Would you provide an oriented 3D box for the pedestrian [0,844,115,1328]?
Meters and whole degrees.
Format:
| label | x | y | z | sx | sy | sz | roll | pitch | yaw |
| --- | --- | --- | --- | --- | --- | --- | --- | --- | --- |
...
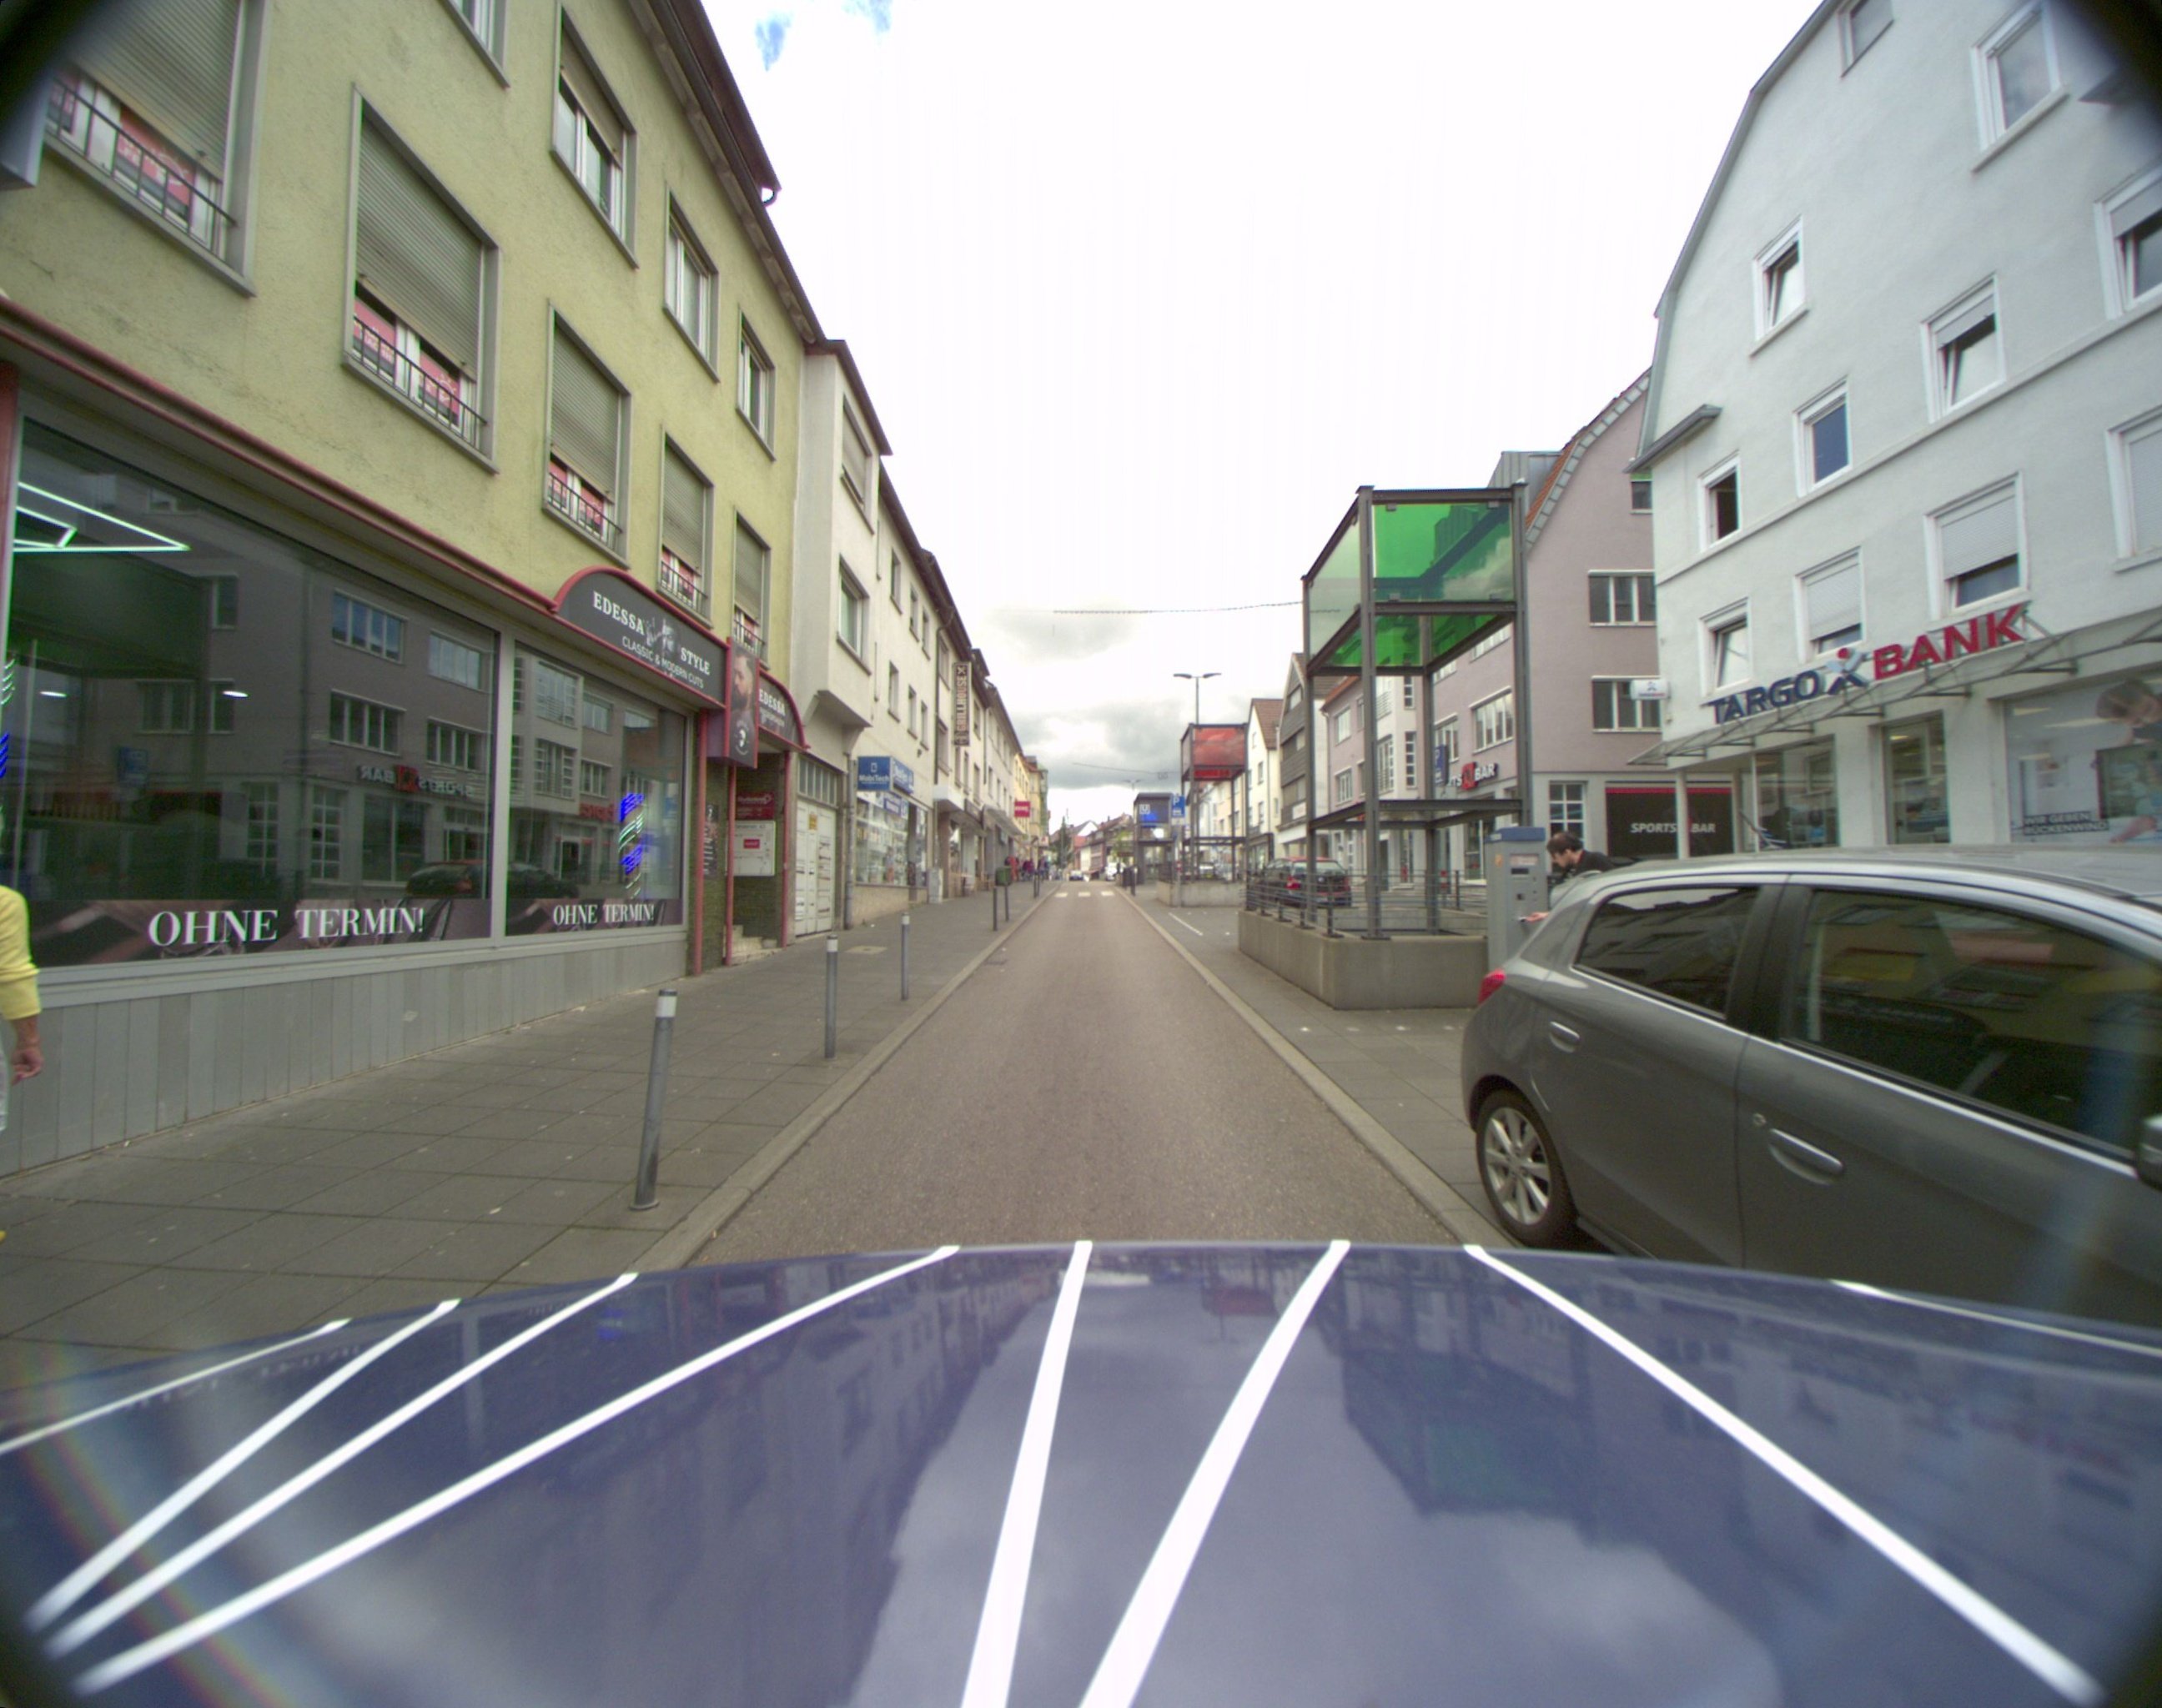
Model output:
| label | x | y | z | sx | sy | sz | roll | pitch | yaw |
| --- | --- | --- | --- | --- | --- | --- | --- | --- | --- |
| pedestrian | -3.980 | 0.777 | 2.416 | 0.713 | 1.621 | 0.835 | 2 | 0 | 0 |

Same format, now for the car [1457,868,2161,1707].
| label | x | y | z | sx | sy | sz | roll | pitch | yaw |
| --- | --- | --- | --- | --- | --- | --- | --- | --- | --- |
| car | 2.365 | 0.853 | 1.280 | 1.624 | 1.523 | 3.670 | -2 | 0 | 0 |

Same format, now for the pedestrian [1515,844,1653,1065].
| label | x | y | z | sx | sy | sz | roll | pitch | yaw |
| --- | --- | --- | --- | --- | --- | --- | --- | --- | --- |
| pedestrian | 4.045 | 0.763 | 6.179 | 0.535 | 1.662 | 0.901 | -1 | 0 | 3 |

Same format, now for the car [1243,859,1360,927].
| label | x | y | z | sx | sy | sz | roll | pitch | yaw |
| --- | --- | --- | --- | --- | --- | --- | --- | --- | --- |
| car | 5.268 | 0.872 | 18.655 | 1.573 | 1.466 | 3.854 | 0 | 0 | -3 |

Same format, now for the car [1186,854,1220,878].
| label | x | y | z | sx | sy | sz | roll | pitch | yaw |
| --- | --- | --- | --- | --- | --- | --- | --- | --- | --- |
| car | 8.437 | 0.803 | 52.855 | 1.684 | 1.562 | 4.122 | -2 | 0 | 0 |

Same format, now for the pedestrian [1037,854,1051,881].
| label | x | y | z | sx | sy | sz | roll | pitch | yaw |
| --- | --- | --- | --- | --- | --- | --- | --- | --- | --- |
| pedestrian | -2.337 | 0.829 | 47.693 | 0.740 | 1.660 | 0.786 | 2 | 0 | -9 |

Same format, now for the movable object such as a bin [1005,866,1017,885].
| label | x | y | z | sx | sy | sz | roll | pitch | yaw |
| --- | --- | --- | --- | --- | --- | --- | --- | --- | --- |
| movable object such as a bin | -3.916 | 1.196 | 42.543 | 0.652 | 1.074 | 0.673 | 0 | 0 | 0 |

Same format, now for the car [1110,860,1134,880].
| label | x | y | z | sx | sy | sz | roll | pitch | yaw |
| --- | --- | --- | --- | --- | --- | --- | --- | --- | --- |
| car | 3.283 | 1.277 | 61.243 | 1.754 | 1.452 | 3.601 | -2 | 0 | 1 |

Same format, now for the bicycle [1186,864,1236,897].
| label | x | y | z | sx | sy | sz | roll | pitch | yaw |
| --- | --- | --- | --- | --- | --- | --- | --- | --- | --- |
| bicycle | 4.787 | 0.977 | 28.013 | 1.782 | 1.216 | 0.459 | 0 | 1 | 0 |

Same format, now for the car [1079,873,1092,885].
| label | x | y | z | sx | sy | sz | roll | pitch | yaw |
| --- | --- | --- | --- | --- | --- | --- | --- | --- | --- |
| car | 0.715 | 3.989 | 122.035 | 1.741 | 1.608 | 3.999 | -2 | 0 | -2 |

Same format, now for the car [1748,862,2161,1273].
| label | x | y | z | sx | sy | sz | roll | pitch | yaw |
| --- | --- | --- | --- | --- | --- | --- | --- | --- | --- |
| car | 4.973 | 0.827 | 2.544 | 1.743 | 1.534 | 4.192 | 0 | 0 | -1 |

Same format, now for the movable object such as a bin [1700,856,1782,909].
| label | x | y | z | sx | sy | sz | roll | pitch | yaw |
| --- | --- | --- | --- | --- | --- | --- | --- | --- | --- |
| movable object such as a bin | 17.712 | 0.751 | 20.413 | 1.286 | 1.368 | 1.044 | -1 | 0 | 0 |

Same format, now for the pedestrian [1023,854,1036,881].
| label | x | y | z | sx | sy | sz | roll | pitch | yaw |
| --- | --- | --- | --- | --- | --- | --- | --- | --- | --- |
| pedestrian | -3.377 | 0.883 | 49.817 | 0.759 | 1.715 | 0.756 | 3 | 0 | -5 |

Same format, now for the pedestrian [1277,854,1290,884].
| label | x | y | z | sx | sy | sz | roll | pitch | yaw |
| --- | --- | --- | --- | --- | --- | --- | --- | --- | --- |
| pedestrian | 11.625 | 0.850 | 43.666 | 0.592 | 1.706 | 0.513 | -2 | 1 | 0 |

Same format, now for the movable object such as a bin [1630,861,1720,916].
| label | x | y | z | sx | sy | sz | roll | pitch | yaw |
| --- | --- | --- | --- | --- | --- | --- | --- | --- | --- |
| movable object such as a bin | 15.721 | 0.897 | 20.161 | 1.286 | 1.368 | 1.407 | -1 | 0 | 0 |

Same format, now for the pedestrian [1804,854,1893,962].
| label | x | y | z | sx | sy | sz | roll | pitch | yaw |
| --- | --- | --- | --- | --- | --- | --- | --- | --- | --- |
| pedestrian | 11.559 | 0.787 | 11.461 | 0.566 | 1.564 | 0.716 | 1 | 1 | 0 |

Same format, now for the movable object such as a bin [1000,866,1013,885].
| label | x | y | z | sx | sy | sz | roll | pitch | yaw |
| --- | --- | --- | --- | --- | --- | --- | --- | --- | --- |
| movable object such as a bin | -4.107 | 1.177 | 41.820 | 0.670 | 1.024 | 0.560 | 0 | 0 | 0 |

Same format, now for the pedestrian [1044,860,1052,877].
| label | x | y | z | sx | sy | sz | roll | pitch | yaw |
| --- | --- | --- | --- | --- | --- | --- | --- | --- | --- |
| pedestrian | -3.186 | 1.459 | 74.372 | 0.657 | 1.620 | 0.743 | -3 | 1 | -6 |

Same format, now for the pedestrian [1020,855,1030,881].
| label | x | y | z | sx | sy | sz | roll | pitch | yaw |
| --- | --- | --- | --- | --- | --- | --- | --- | --- | --- |
| pedestrian | -3.727 | 0.903 | 50.531 | 0.627 | 1.716 | 0.607 | 2 | 0 | -5 |

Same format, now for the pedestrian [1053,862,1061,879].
| label | x | y | z | sx | sy | sz | roll | pitch | yaw |
| --- | --- | --- | --- | --- | --- | --- | --- | --- | --- |
| pedestrian | -2.305 | 1.578 | 74.257 | 0.657 | 1.620 | 0.743 | -2 | 1 | -6 |

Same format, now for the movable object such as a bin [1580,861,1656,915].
| label | x | y | z | sx | sy | sz | roll | pitch | yaw |
| --- | --- | --- | --- | --- | --- | --- | --- | --- | --- |
| movable object such as a bin | 14.400 | 0.894 | 20.428 | 1.286 | 1.368 | 1.067 | -1 | 0 | 0 |

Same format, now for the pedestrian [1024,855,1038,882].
| label | x | y | z | sx | sy | sz | roll | pitch | yaw |
| --- | --- | --- | --- | --- | --- | --- | --- | --- | --- |
| pedestrian | -3.123 | 0.880 | 47.563 | 0.740 | 1.660 | 0.627 | 2 | 0 | -9 |

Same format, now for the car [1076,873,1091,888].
| label | x | y | z | sx | sy | sz | roll | pitch | yaw |
| --- | --- | --- | --- | --- | --- | --- | --- | --- | --- |
| car | 0.274 | 3.213 | 93.418 | 1.741 | 1.608 | 3.843 | -2 | 0 | 0 |

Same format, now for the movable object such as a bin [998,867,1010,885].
| label | x | y | z | sx | sy | sz | roll | pitch | yaw |
| --- | --- | --- | --- | --- | --- | --- | --- | --- | --- |
| movable object such as a bin | -4.162 | 1.208 | 41.208 | 0.568 | 0.951 | 0.498 | 0 | 0 | 0 |

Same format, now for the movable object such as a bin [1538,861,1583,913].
| label | x | y | z | sx | sy | sz | roll | pitch | yaw |
| --- | --- | --- | --- | --- | --- | --- | --- | --- | --- |
| movable object such as a bin | 12.864 | 0.872 | 20.418 | 0.691 | 1.368 | 0.808 | -1 | 0 | 0 |
